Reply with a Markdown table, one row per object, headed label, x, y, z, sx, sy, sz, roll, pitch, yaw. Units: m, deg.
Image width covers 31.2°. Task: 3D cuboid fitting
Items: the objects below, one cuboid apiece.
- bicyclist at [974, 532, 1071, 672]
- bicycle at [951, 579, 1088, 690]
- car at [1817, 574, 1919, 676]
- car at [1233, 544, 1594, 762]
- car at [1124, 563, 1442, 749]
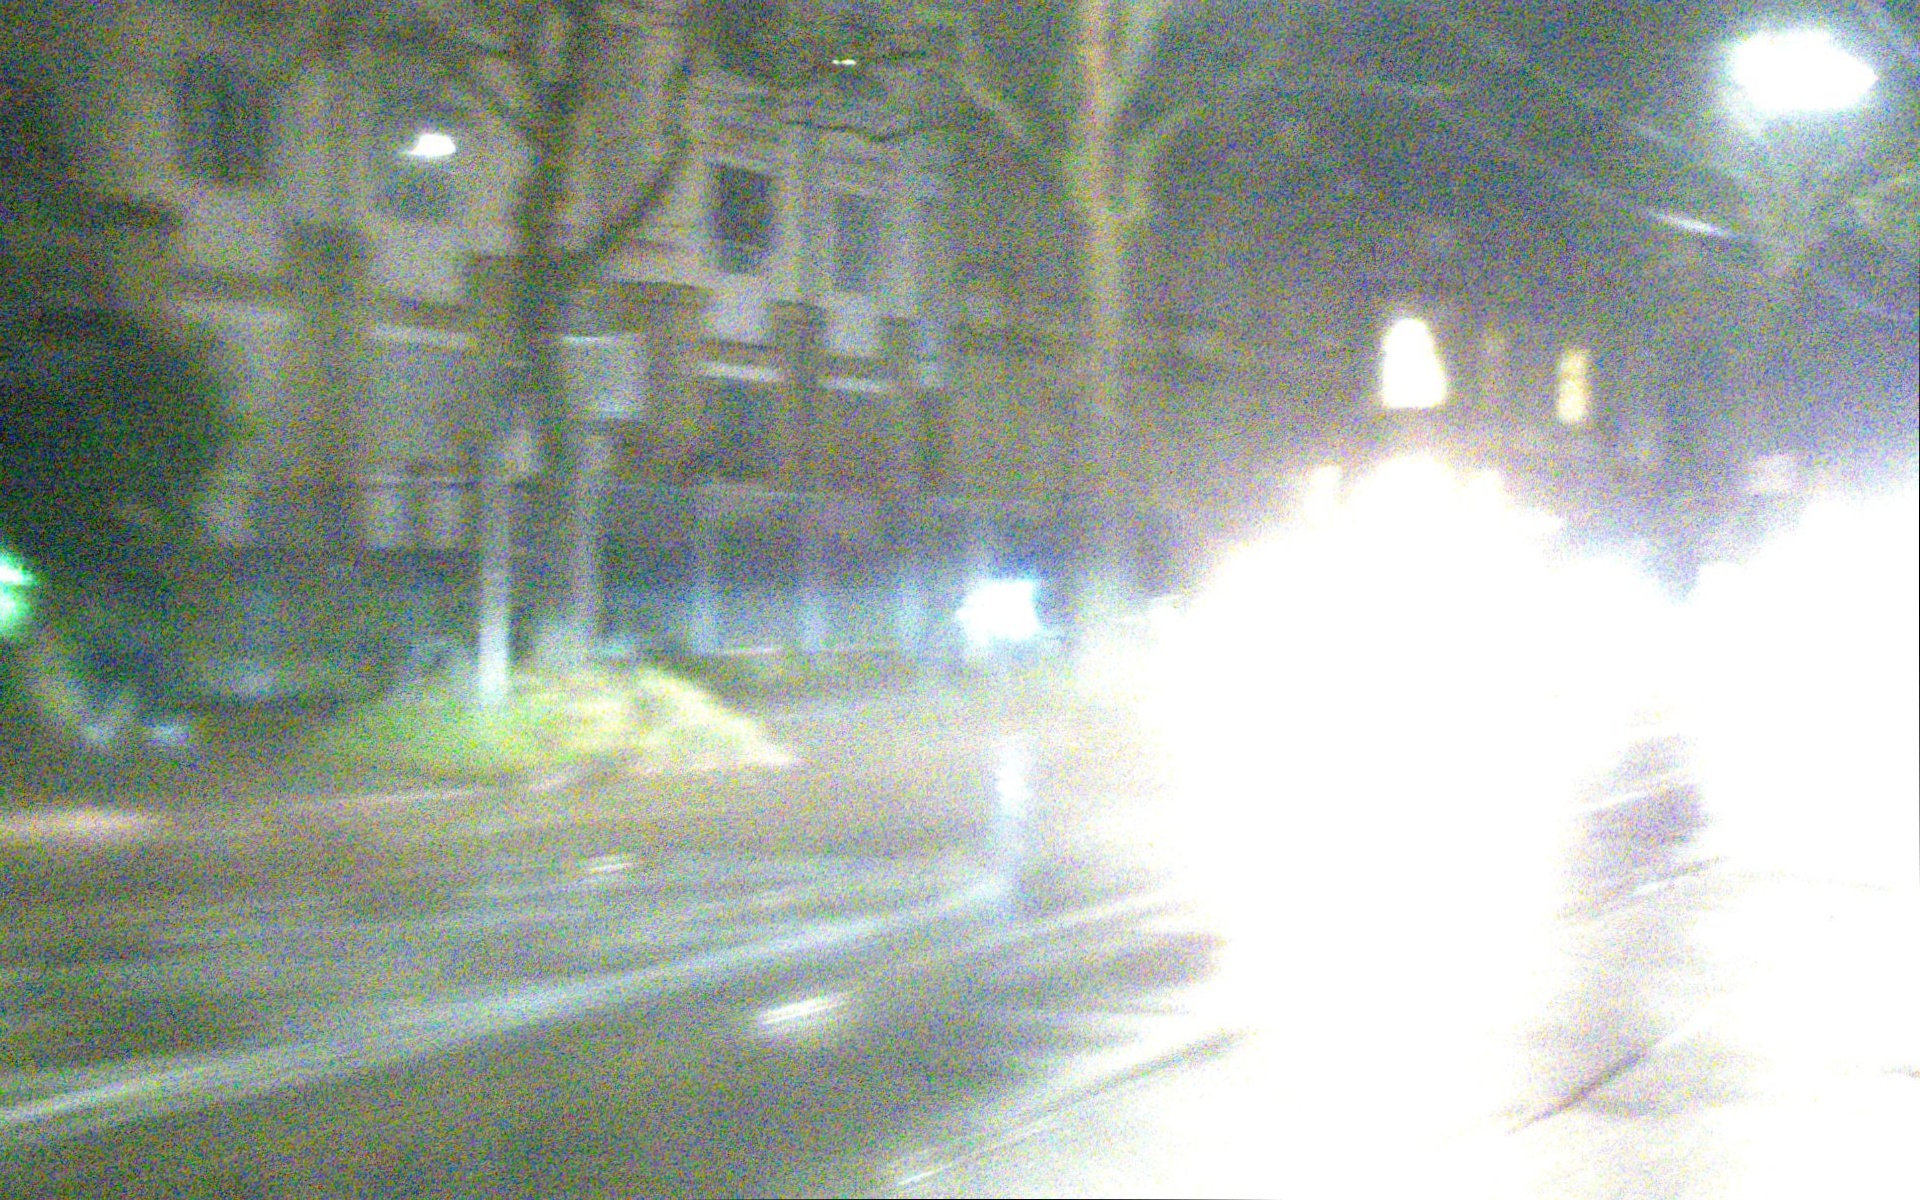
| label | x | y | z | sx | sy | sz | roll | pitch | yaw |
| --- | --- | --- | --- | --- | --- | --- | --- | --- | --- |
| bicyclist | 0.679 | 0.023 | 37.258 | 0.655 | 1.460 | 0.867 | 4 | 1 | 27 |
| bicycle | 0.658 | 0.383 | 37.263 | 0.655 | 1.137 | 1.895 | 4 | 1 | 27 |
| car | 14.339 | 0.354 | 52.378 | 1.795 | 1.459 | 3.896 | 1 | 1 | 24 |
| car | 4.268 | 0.460 | 31.701 | 1.898 | 1.863 | 4.529 | 0 | 0 | 27 |
| car | 3.801 | 0.566 | 39.485 | 1.996 | 1.819 | 5.302 | 5 | 3 | 23 |
